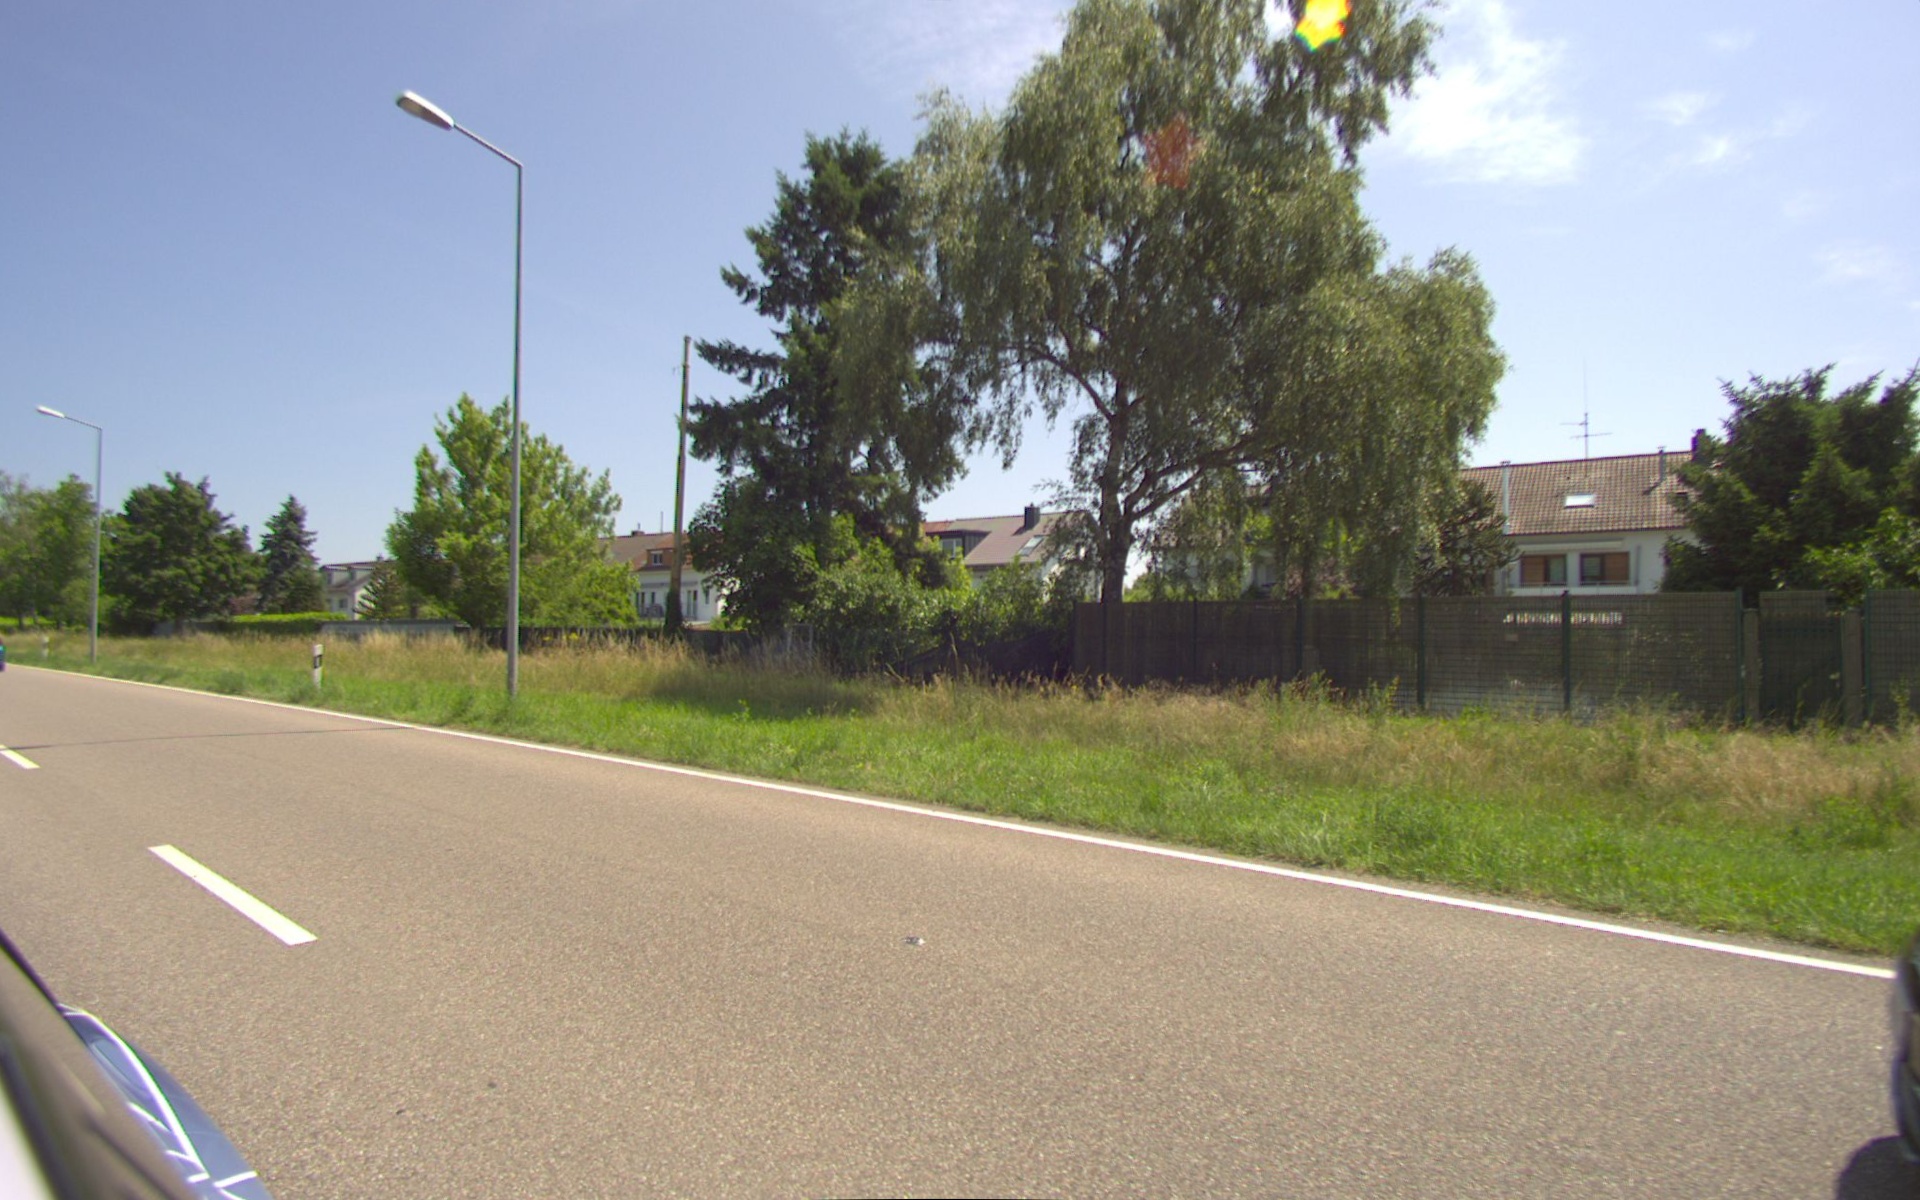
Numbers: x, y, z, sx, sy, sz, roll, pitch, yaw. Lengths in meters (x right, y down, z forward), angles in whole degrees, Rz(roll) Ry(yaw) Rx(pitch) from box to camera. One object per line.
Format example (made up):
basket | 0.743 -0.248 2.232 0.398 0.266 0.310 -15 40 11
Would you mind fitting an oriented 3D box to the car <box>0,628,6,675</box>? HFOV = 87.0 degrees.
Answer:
car | -32.859 1.677 33.171 3.996 1.517 1.797 -2 -2 39
